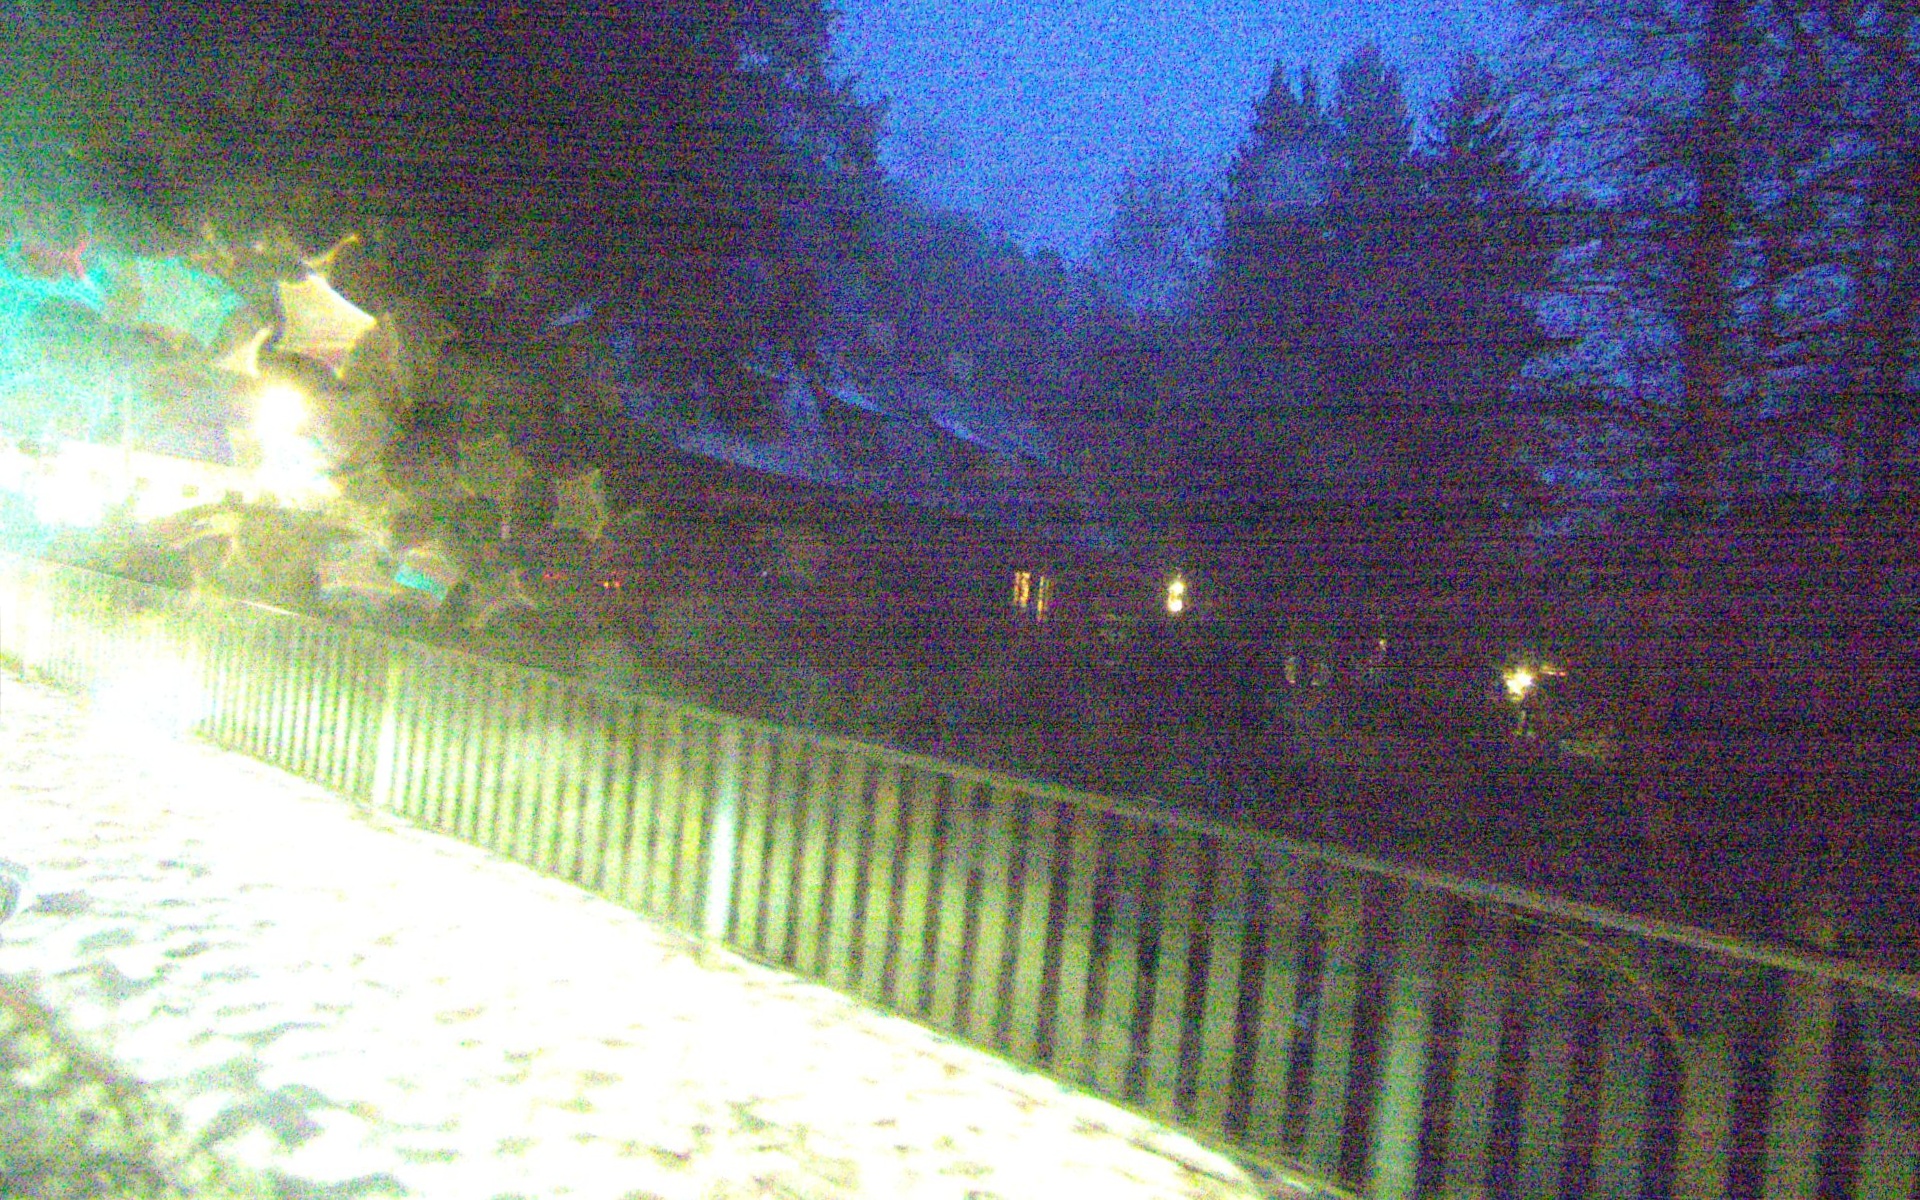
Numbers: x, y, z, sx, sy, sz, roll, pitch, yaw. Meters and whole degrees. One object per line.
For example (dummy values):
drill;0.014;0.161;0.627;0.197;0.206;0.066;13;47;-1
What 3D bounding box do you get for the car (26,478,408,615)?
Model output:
car;-11.376;-0.763;15.640;1.913;1.607;4.455;8;2;42
